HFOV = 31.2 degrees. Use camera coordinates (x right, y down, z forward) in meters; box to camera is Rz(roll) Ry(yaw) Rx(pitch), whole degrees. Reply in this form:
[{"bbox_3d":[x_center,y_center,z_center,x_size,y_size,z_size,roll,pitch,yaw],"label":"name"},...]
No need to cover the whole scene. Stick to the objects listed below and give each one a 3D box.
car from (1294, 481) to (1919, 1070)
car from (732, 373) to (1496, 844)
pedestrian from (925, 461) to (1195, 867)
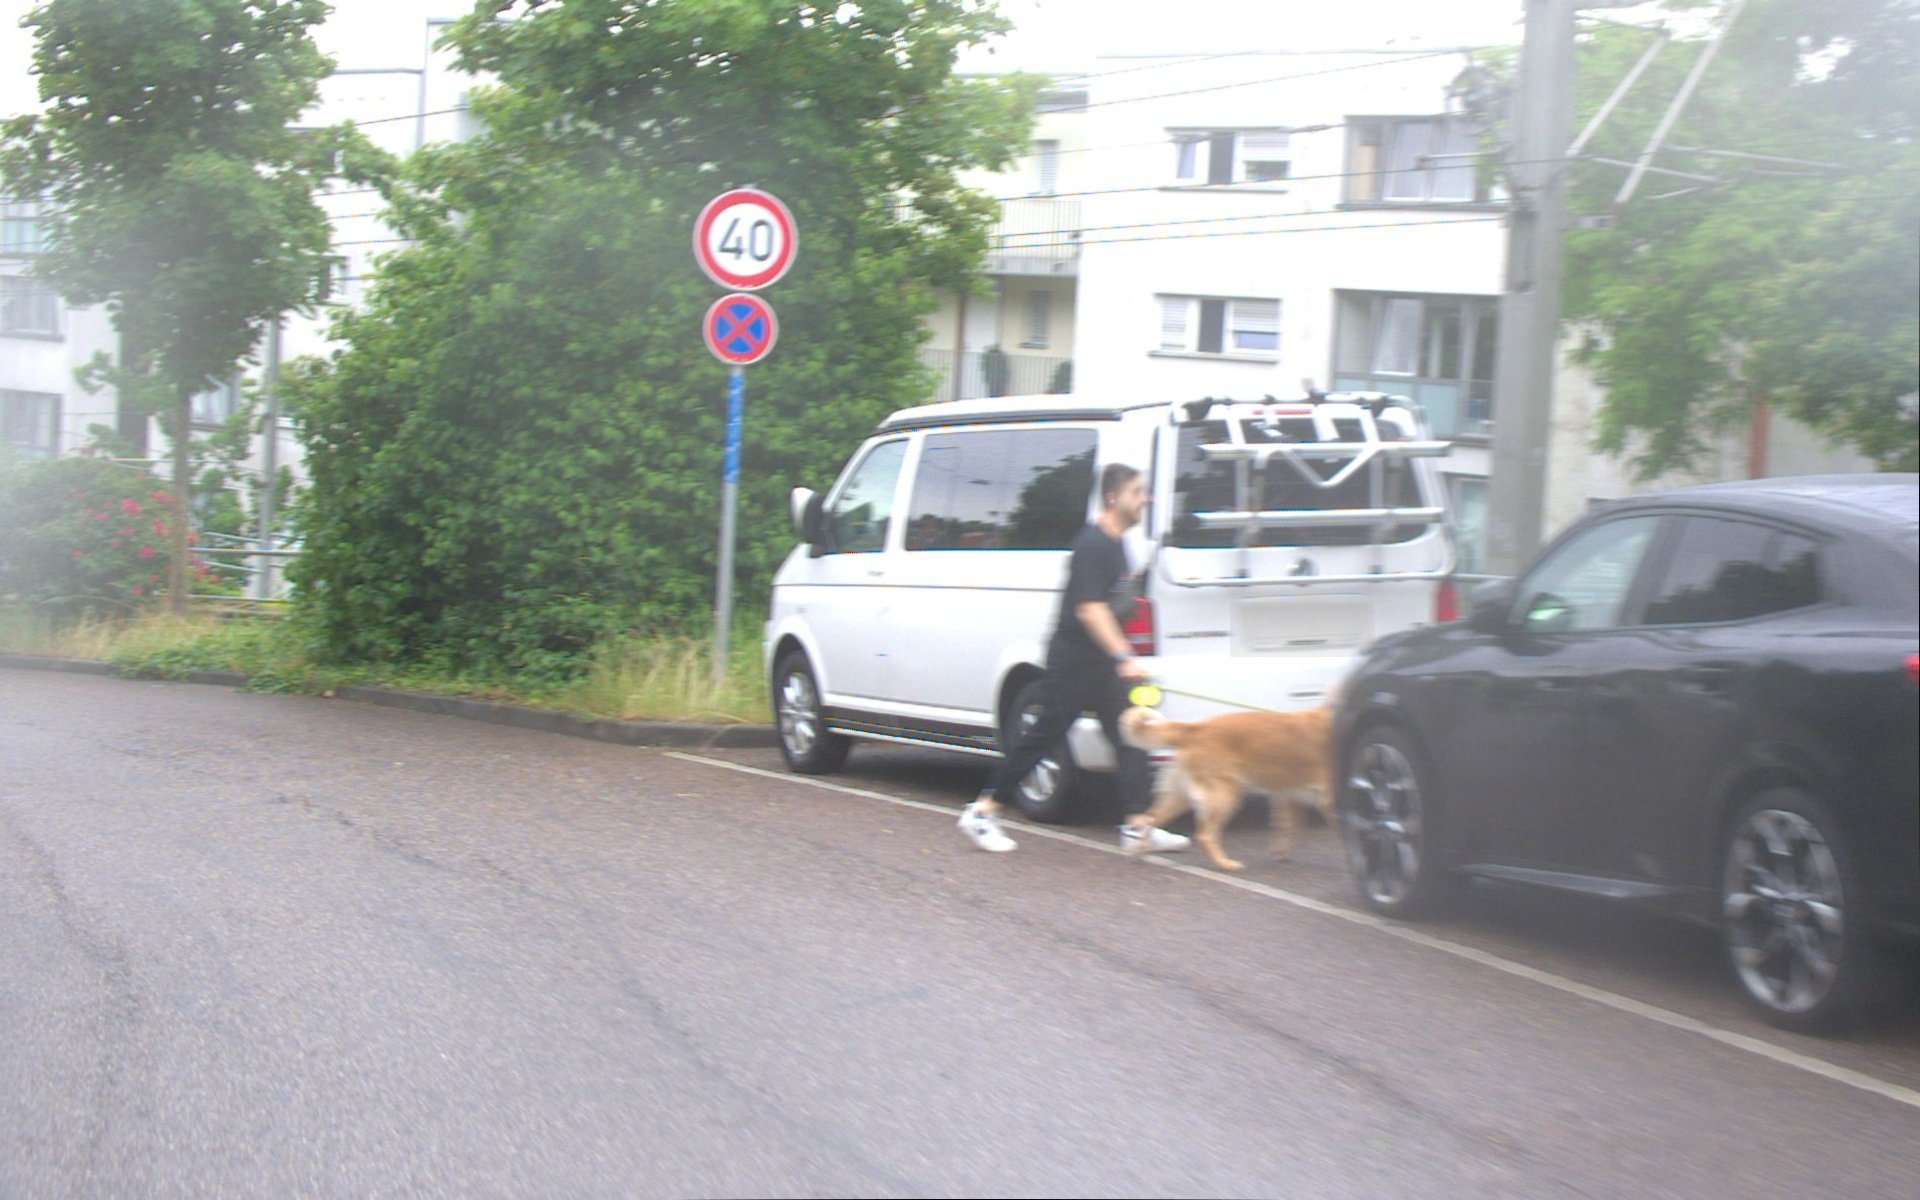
[{"bbox_3d":[2.744,0.395,11.131,1.718,1.550,4.278,-1,2,-18],"label":"car"},{"bbox_3d":[0.578,-0.056,17.178,1.876,2.006,4.692,-2,2,-24],"label":"car"},{"bbox_3d":[0.436,0.249,14.622,0.923,1.655,0.804,0,3,19],"label":"pedestrian"}]
